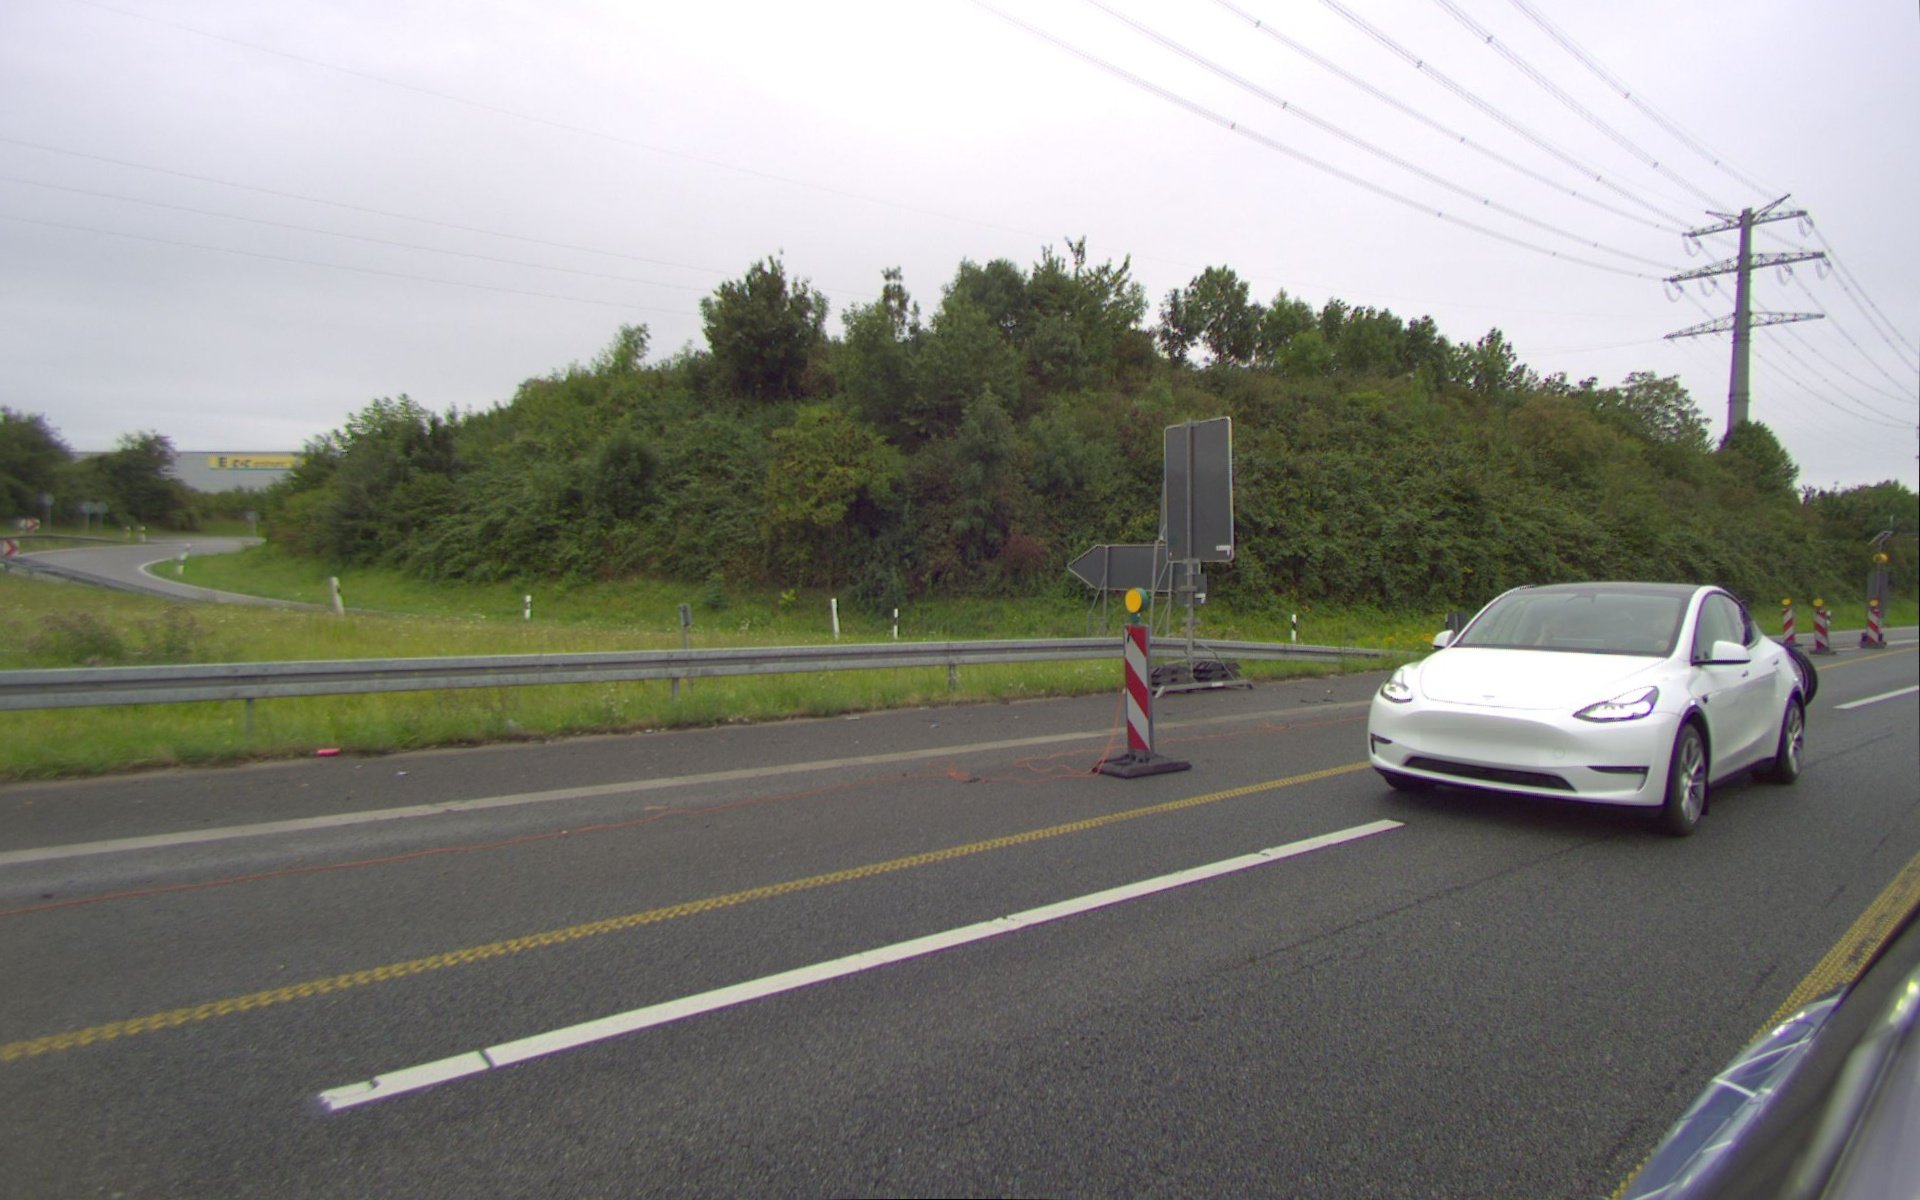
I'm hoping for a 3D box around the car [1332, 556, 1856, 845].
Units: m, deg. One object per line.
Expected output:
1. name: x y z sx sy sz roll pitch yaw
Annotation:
1. car: 5.473 0.540 8.297 5.699 1.616 2.049 0 0 -41
